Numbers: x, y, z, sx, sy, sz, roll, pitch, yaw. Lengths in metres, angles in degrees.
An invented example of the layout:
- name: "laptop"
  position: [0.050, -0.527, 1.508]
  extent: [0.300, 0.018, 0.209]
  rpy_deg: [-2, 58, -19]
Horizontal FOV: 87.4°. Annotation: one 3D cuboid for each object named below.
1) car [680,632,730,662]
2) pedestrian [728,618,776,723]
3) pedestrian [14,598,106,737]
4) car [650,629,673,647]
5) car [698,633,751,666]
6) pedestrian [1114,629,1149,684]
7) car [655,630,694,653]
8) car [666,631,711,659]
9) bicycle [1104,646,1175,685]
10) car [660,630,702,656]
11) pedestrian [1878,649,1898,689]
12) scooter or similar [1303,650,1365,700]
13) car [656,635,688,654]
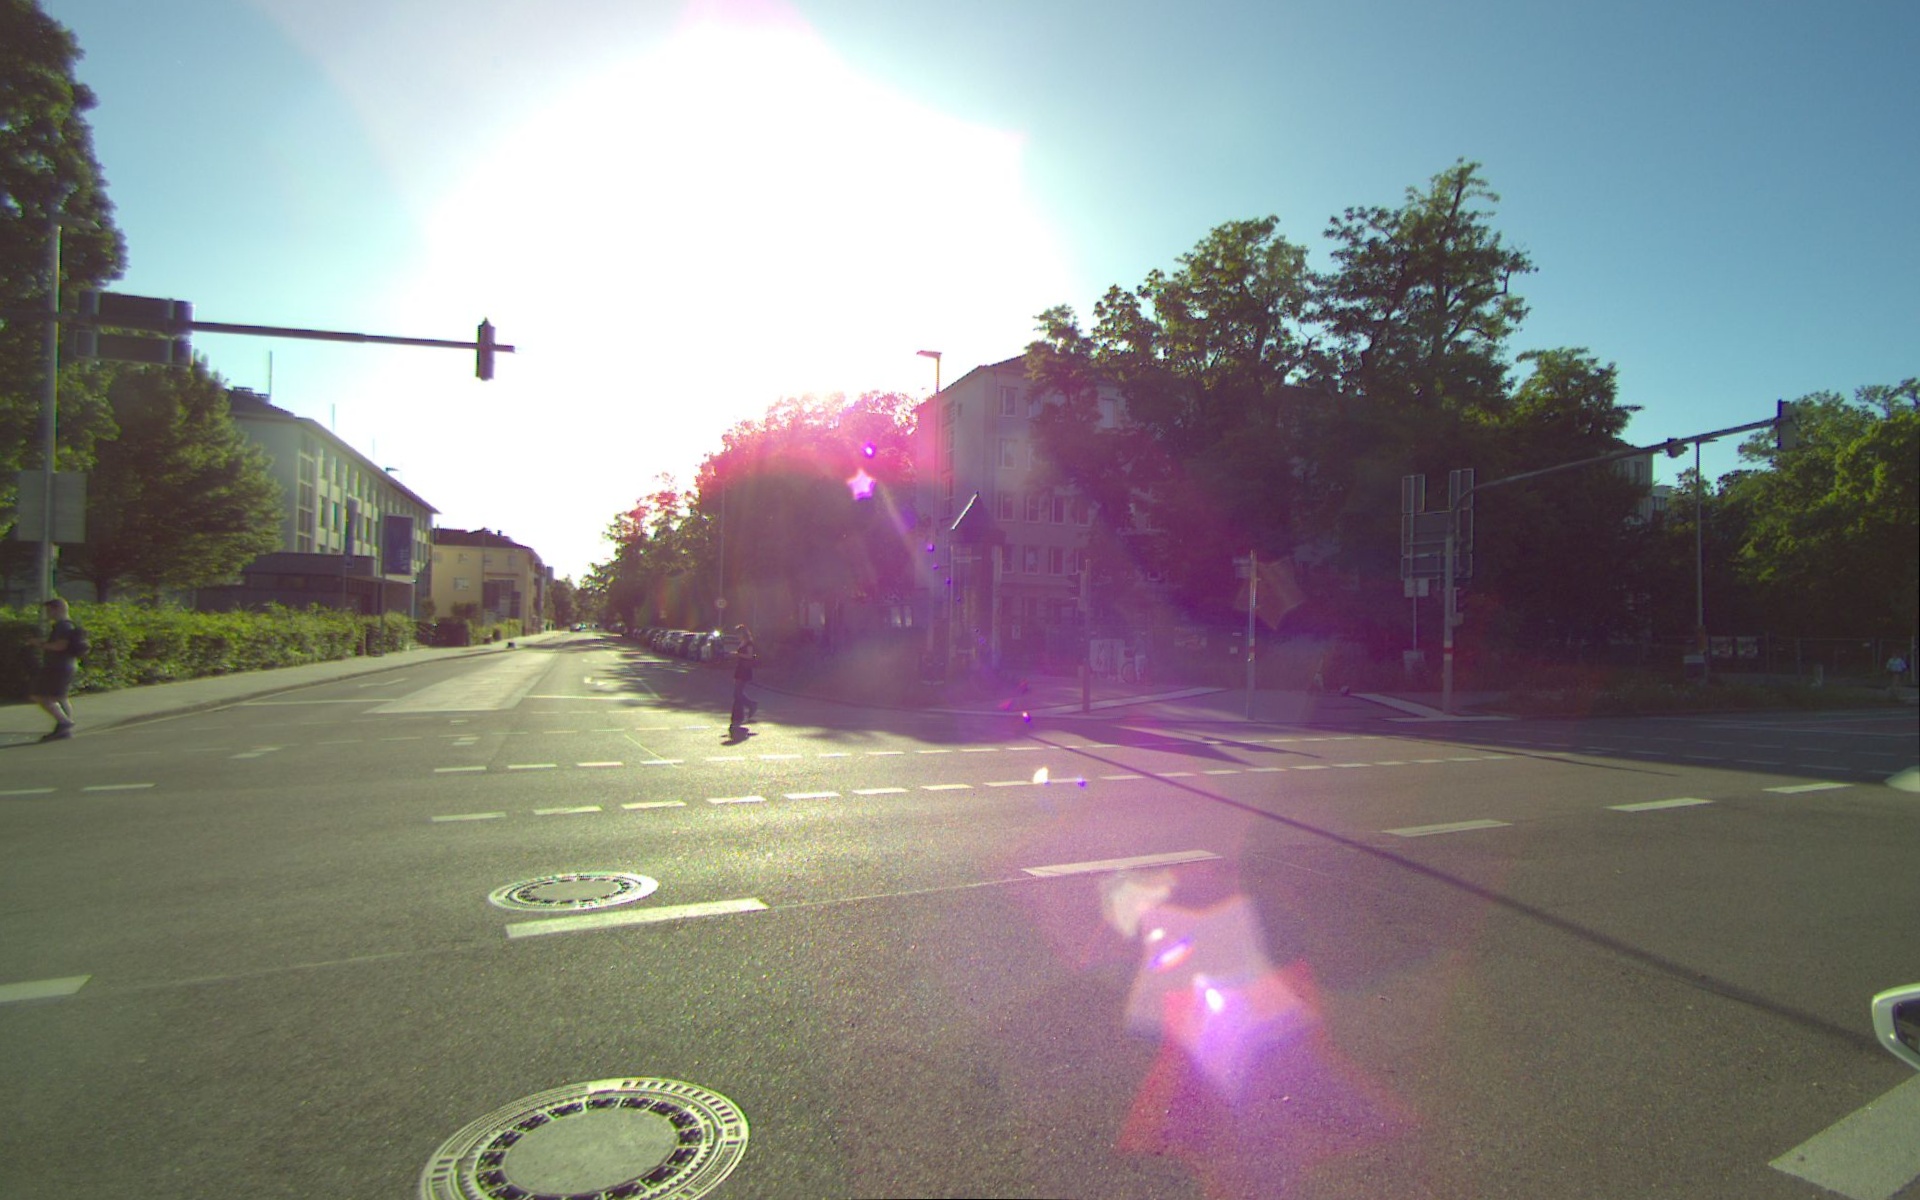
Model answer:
- name: "car"
  position: [-14.255, 2.570, 55.960]
  extent: [2.204, 1.559, 4.239]
  rpy_deg: [2, -2, -21]
- name: "pedestrian"
  position: [-3.737, 1.255, 18.034]
  extent: [0.715, 1.840, 0.742]
  rpy_deg: [2, -2, -21]
- name: "pedestrian"
  position: [-12.345, 0.913, 13.798]
  extent: [0.670, 1.840, 0.689]
  rpy_deg: [2, -2, -21]
- name: "car"
  position: [-26.748, 3.378, 89.984]
  extent: [1.783, 1.607, 3.983]
  rpy_deg: [2, -2, -20]
- name: "car"
  position: [-11.991, 2.468, 50.877]
  extent: [2.038, 1.559, 4.239]
  rpy_deg: [2, -2, -21]
- name: "pedestrian"
  position: [5.453, 1.802, 32.016]
  extent: [0.634, 1.718, 0.974]
  rpy_deg: [2, -2, -24]
- name: "car"
  position: [-19.926, 2.875, 69.994]
  extent: [2.204, 1.559, 4.239]
  rpy_deg: [2, -2, -21]
- name: "car"
  position: [-16.415, 2.695, 60.579]
  extent: [2.204, 1.559, 4.239]
  rpy_deg: [2, -2, -21]
- name: "bicycle"
  position: [5.763, 2.106, 32.398]
  extent: [0.967, 1.150, 2.564]
  rpy_deg: [2, -2, -24]
- name: "car"
  position: [-18.165, 2.776, 65.279]
  extent: [2.204, 1.559, 4.239]
  rpy_deg: [2, -2, -21]
- name: "pedestrian"
  position: [37.266, 2.772, 40.329]
  extent: [0.565, 1.554, 0.448]
  rpy_deg: [2, -2, -33]
- name: "scooter or similar"
  position: [10.412, 2.082, 27.991]
  extent: [1.466, 1.311, 0.696]
  rpy_deg: [1, -2, 0]
- name: "car"
  position: [-21.333, 3.283, 74.258]
  extent: [1.970, 1.257, 3.982]
  rpy_deg: [2, -2, -20]
